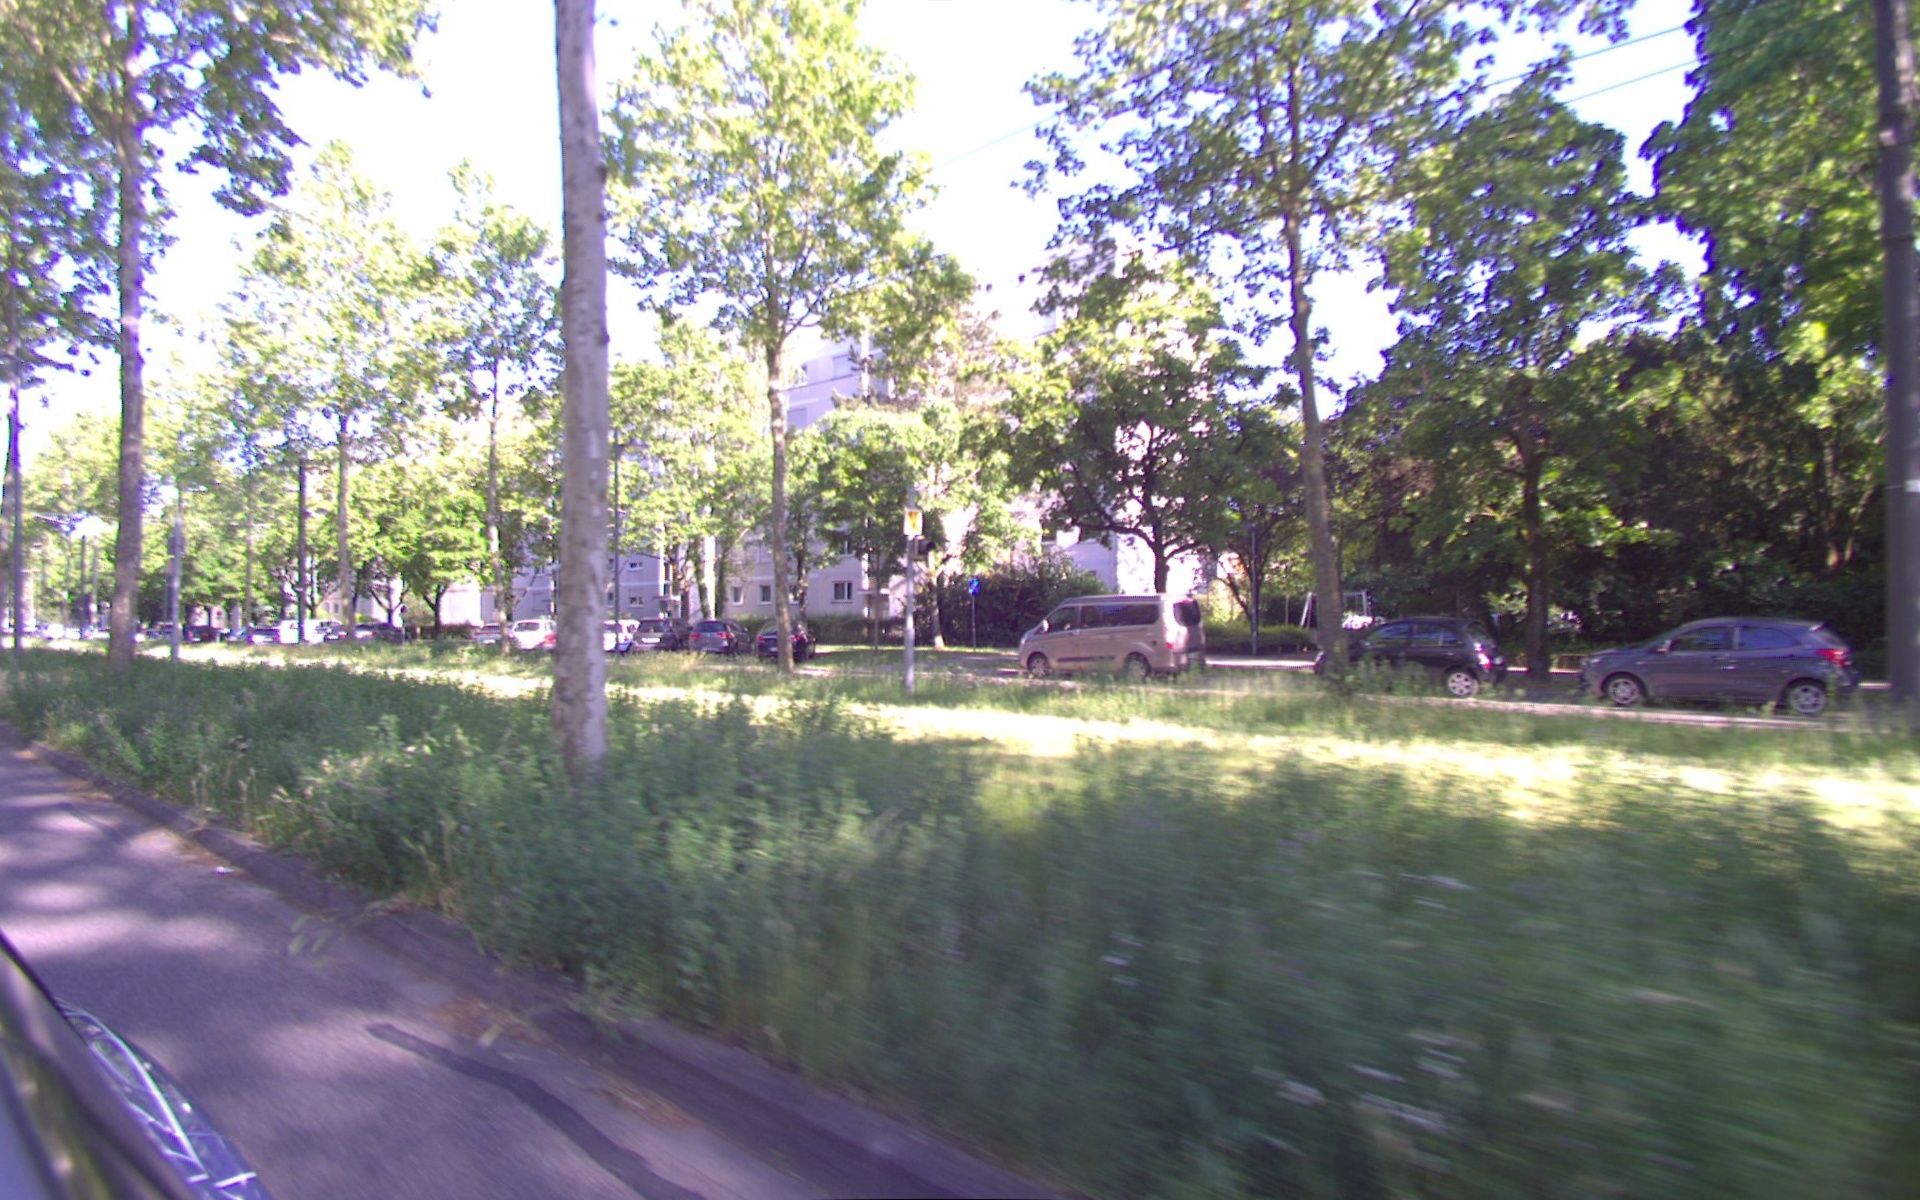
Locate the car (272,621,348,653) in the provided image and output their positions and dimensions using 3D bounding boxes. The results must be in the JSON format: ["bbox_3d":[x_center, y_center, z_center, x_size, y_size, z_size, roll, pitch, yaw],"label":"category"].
[{"bbox_3d":[-43.009,2.425,67.098,1.867,2.022,4.795,-2,-2,2],"label":"car"}]

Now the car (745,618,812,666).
[{"bbox_3d":[-6.390,1.462,36.056,1.769,1.580,4.488,0,-2,-2],"label":"car"}]

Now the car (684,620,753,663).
[{"bbox_3d":[-9.269,1.574,39.153,1.769,1.580,4.488,0,-2,-2],"label":"car"}]

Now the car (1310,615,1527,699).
[{"bbox_3d":[9.239,1.096,20.521,3.663,1.464,1.628,-2,1,43],"label":"car"}]

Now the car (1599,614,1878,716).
[{"bbox_3d":[13.121,1.026,17.163,3.574,1.464,1.852,-2,1,43],"label":"car"}]

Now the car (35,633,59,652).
[{"bbox_3d":[-115.891,5.405,128.421,3.930,2.279,1.696,-2,-3,40],"label":"car"}]

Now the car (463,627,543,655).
[{"bbox_3d":[-22.675,2.015,50.360,1.773,1.348,4.124,0,-2,6],"label":"car"}]

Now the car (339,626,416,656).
[{"bbox_3d":[-34.928,2.425,60.776,1.971,1.619,4.077,-4,-2,6],"label":"car"}]

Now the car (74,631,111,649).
[{"bbox_3d":[-78.582,3.654,91.664,4.081,1.517,1.904,-2,-1,40],"label":"car"}]

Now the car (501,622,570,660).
[{"bbox_3d":[-20.190,1.929,48.283,1.761,1.688,3.980,0,-2,-2],"label":"car"}]

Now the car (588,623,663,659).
[{"bbox_3d":[-14.721,1.792,44.787,1.597,1.493,4.480,0,-2,4],"label":"car"}]

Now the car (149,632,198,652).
[{"bbox_3d":[-69.845,3.736,89.966,1.625,1.658,4.092,1,-2,-9],"label":"car"}]

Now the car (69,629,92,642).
[{"bbox_3d":[-105.296,4.289,121.121,3.934,1.557,1.695,-2,-3,43],"label":"car"}]

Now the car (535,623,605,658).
[{"bbox_3d":[-17.456,1.780,45.457,1.769,1.499,3.923,0,-2,-2],"label":"car"}]

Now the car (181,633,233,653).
[{"bbox_3d":[-63.761,3.628,85.738,1.626,1.487,4.090,-5,-1,-6],"label":"car"}]

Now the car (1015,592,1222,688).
[{"bbox_3d":[3.800,0.946,24.959,4.914,2.109,1.628,-2,1,43],"label":"car"}]

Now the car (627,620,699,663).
[{"bbox_3d":[-12.090,1.666,41.463,1.769,1.688,4.488,0,-2,-2],"label":"car"}]

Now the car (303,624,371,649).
[{"bbox_3d":[-40.464,2.342,65.827,1.560,1.443,4.077,-2,0,6],"label":"car"}]

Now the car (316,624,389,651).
[{"bbox_3d":[-37.709,2.304,62.922,1.796,1.542,4.076,-2,-2,6],"label":"car"}]

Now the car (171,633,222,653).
[{"bbox_3d":[-66.731,3.728,88.534,1.626,1.658,4.090,-3,-2,-5],"label":"car"}]
